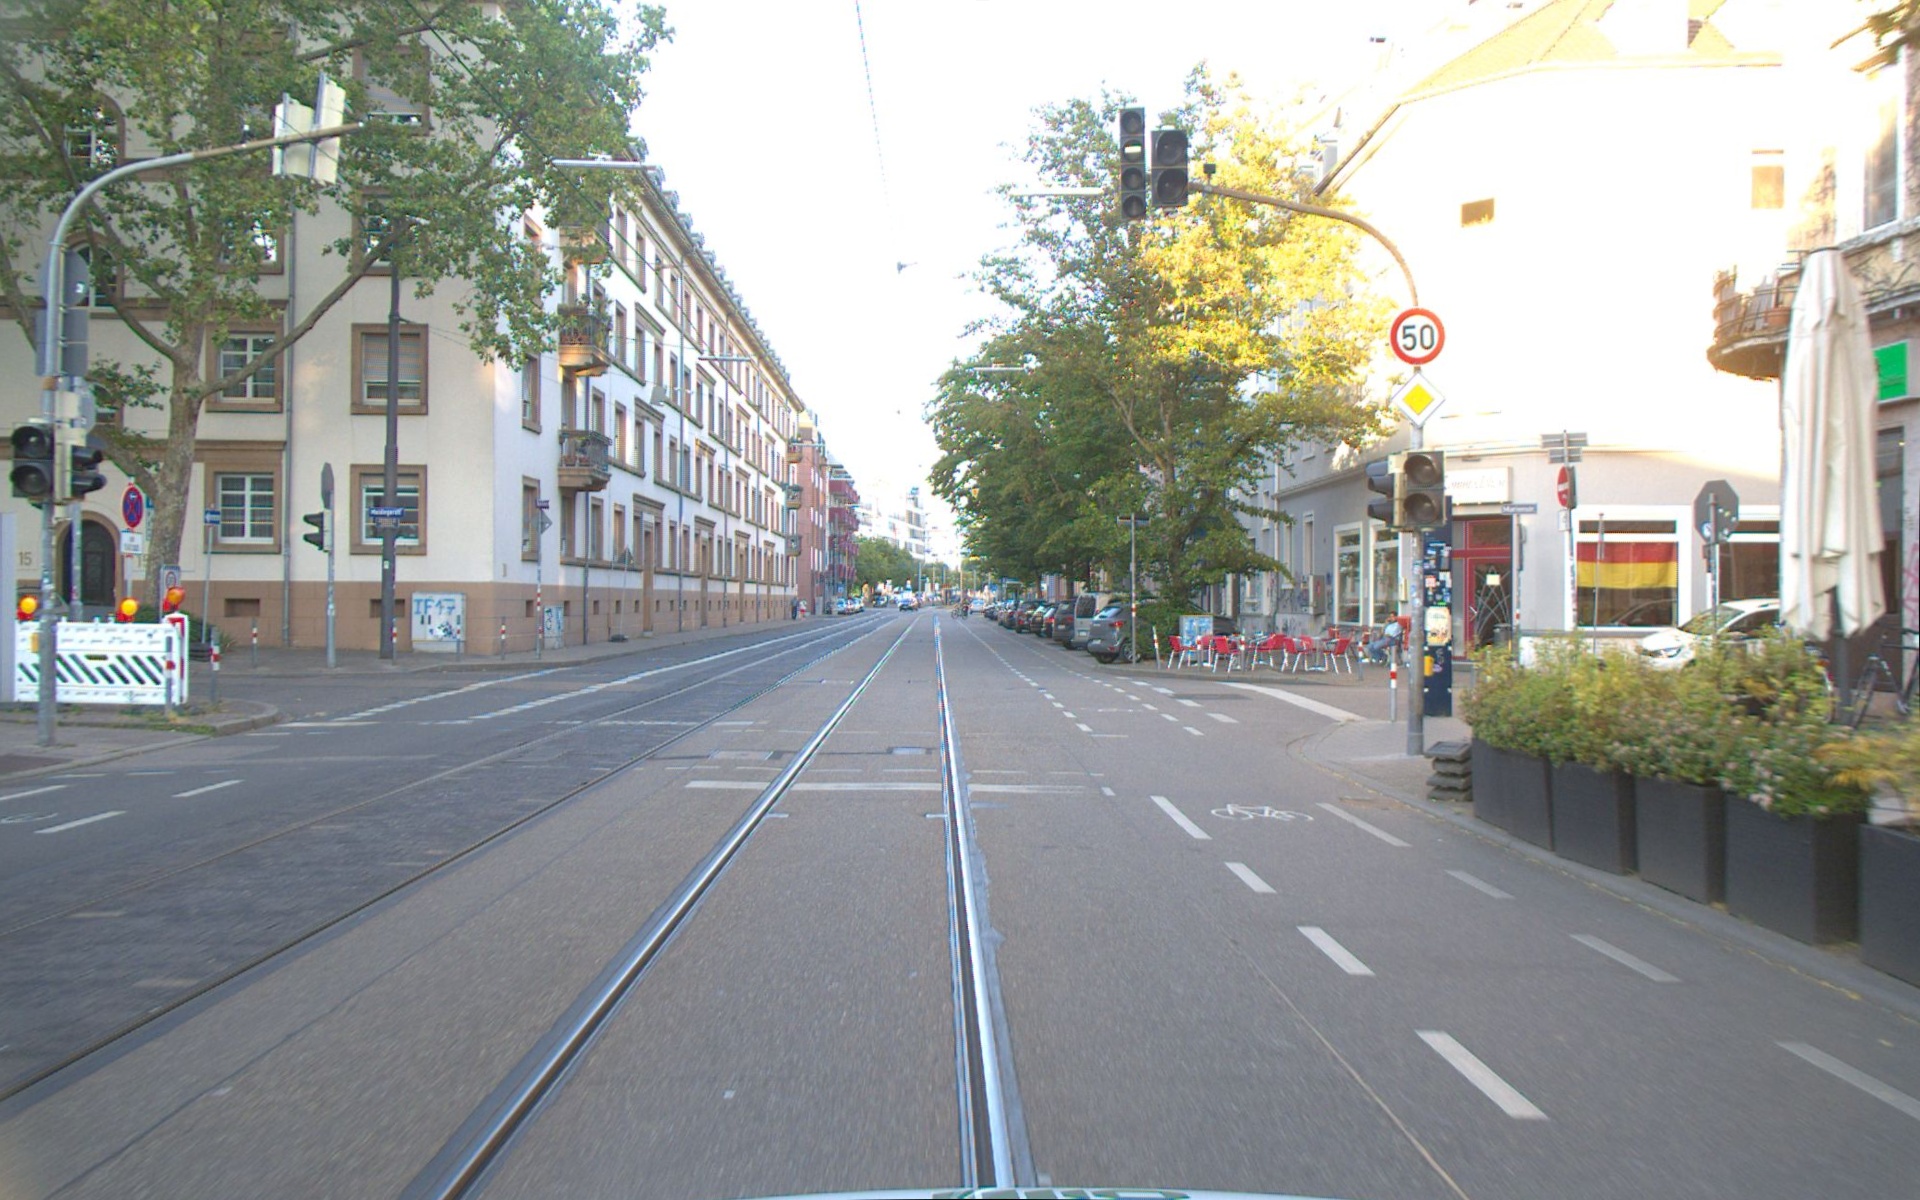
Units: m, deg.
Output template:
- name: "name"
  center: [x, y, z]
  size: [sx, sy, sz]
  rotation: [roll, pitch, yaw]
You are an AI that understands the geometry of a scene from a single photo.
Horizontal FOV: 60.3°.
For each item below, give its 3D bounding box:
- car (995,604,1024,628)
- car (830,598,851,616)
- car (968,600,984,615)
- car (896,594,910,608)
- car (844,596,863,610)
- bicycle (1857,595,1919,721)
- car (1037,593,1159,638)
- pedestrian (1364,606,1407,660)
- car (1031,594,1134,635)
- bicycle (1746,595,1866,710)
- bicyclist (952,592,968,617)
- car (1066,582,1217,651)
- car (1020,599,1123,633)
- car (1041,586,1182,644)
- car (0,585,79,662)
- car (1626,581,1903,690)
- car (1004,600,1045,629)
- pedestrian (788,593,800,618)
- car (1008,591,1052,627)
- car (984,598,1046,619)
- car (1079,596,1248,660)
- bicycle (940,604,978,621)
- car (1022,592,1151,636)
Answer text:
- name: "car"
  center: [3.055, 0.998, 103.076]
  size: [1.586, 1.405, 3.775]
  rotation: [-2, 0, -1]
- name: "car"
  center: [-11.366, 0.677, 157.087]
  size: [1.682, 1.583, 4.203]
  rotation: [2, 0, 0]
- name: "car"
  center: [1.727, 0.831, 178.089]
  size: [1.681, 1.583, 4.204]
  rotation: [1, 0, 1]
- name: "car"
  center: [-6.686, 0.124, 194.383]
  size: [1.528, 1.585, 3.752]
  rotation: [-1, 0, -3]
- name: "car"
  center: [-11.397, 0.355, 177.133]
  size: [1.656, 1.438, 4.677]
  rotation: [2, 0, 1]
- name: "bicycle"
  center: [9.657, 0.573, 16.569]
  size: [0.460, 1.231, 1.585]
  rotation: [1, 0, -1]
- name: "car"
  center: [4.807, 0.526, 57.700]
  size: [3.926, 1.489, 1.711]
  rotation: [-1, 0, -19]
- name: "pedestrian"
  center: [9.407, 0.728, 36.596]
  size: [0.641, 1.175, 0.686]
  rotation: [1, 0, -25]
- name: "car"
  center: [5.064, 0.587, 68.332]
  size: [3.901, 1.580, 1.711]
  rotation: [-1, 1, -19]
- name: "bicycle"
  center: [9.460, 0.566, 18.549]
  size: [0.513, 1.231, 1.585]
  rotation: [1, 0, -1]
- name: "bicyclist"
  center: [-0.020, 0.356, 138.806]
  size: [1.191, 2.049, 0.945]
  rotation: [0, 0, -9]
- name: "car"
  center: [5.238, 0.451, 47.762]
  size: [3.932, 1.847, 1.812]
  rotation: [-1, 1, -23]
- name: "car"
  center: [4.820, 0.680, 71.405]
  size: [4.198, 1.412, 1.607]
  rotation: [0, 0, -27]
- name: "car"
  center: [4.845, 0.453, 52.941]
  size: [4.121, 1.726, 1.834]
  rotation: [-1, 0, -23]
- name: "car"
  center: [-19.532, 0.475, 32.830]
  size: [1.717, 1.383, 4.475]
  rotation: [1, 2, 0]
- name: "car"
  center: [14.957, 0.640, 30.943]
  size: [4.231, 1.873, 1.908]
  rotation: [1, 0, 4]
- name: "car"
  center: [3.483, 0.753, 89.773]
  size: [1.953, 1.515, 5.035]
  rotation: [-1, 0, 0]
- name: "pedestrian"
  center: [-11.370, 0.383, 113.139]
  size: [0.779, 1.731, 0.981]
  rotation: [0, 0, -3]
- name: "car"
  center: [3.389, 0.430, 80.701]
  size: [1.842, 1.646, 4.261]
  rotation: [-2, 0, -1]
- name: "car"
  center: [4.258, 0.651, 128.376]
  size: [4.386, 1.543, 2.048]
  rotation: [-1, 0, -24]
- name: "car"
  center: [5.183, 0.687, 42.106]
  size: [3.929, 1.567, 1.769]
  rotation: [0, 0, -21]
- name: "bicycle"
  center: [-0.111, 1.062, 138.790]
  size: [3.112, 1.378, 0.955]
  rotation: [0, 0, -10]
- name: "car"
  center: [4.532, 0.492, 59.476]
  size: [4.310, 1.489, 1.711]
  rotation: [-1, 0, -19]
